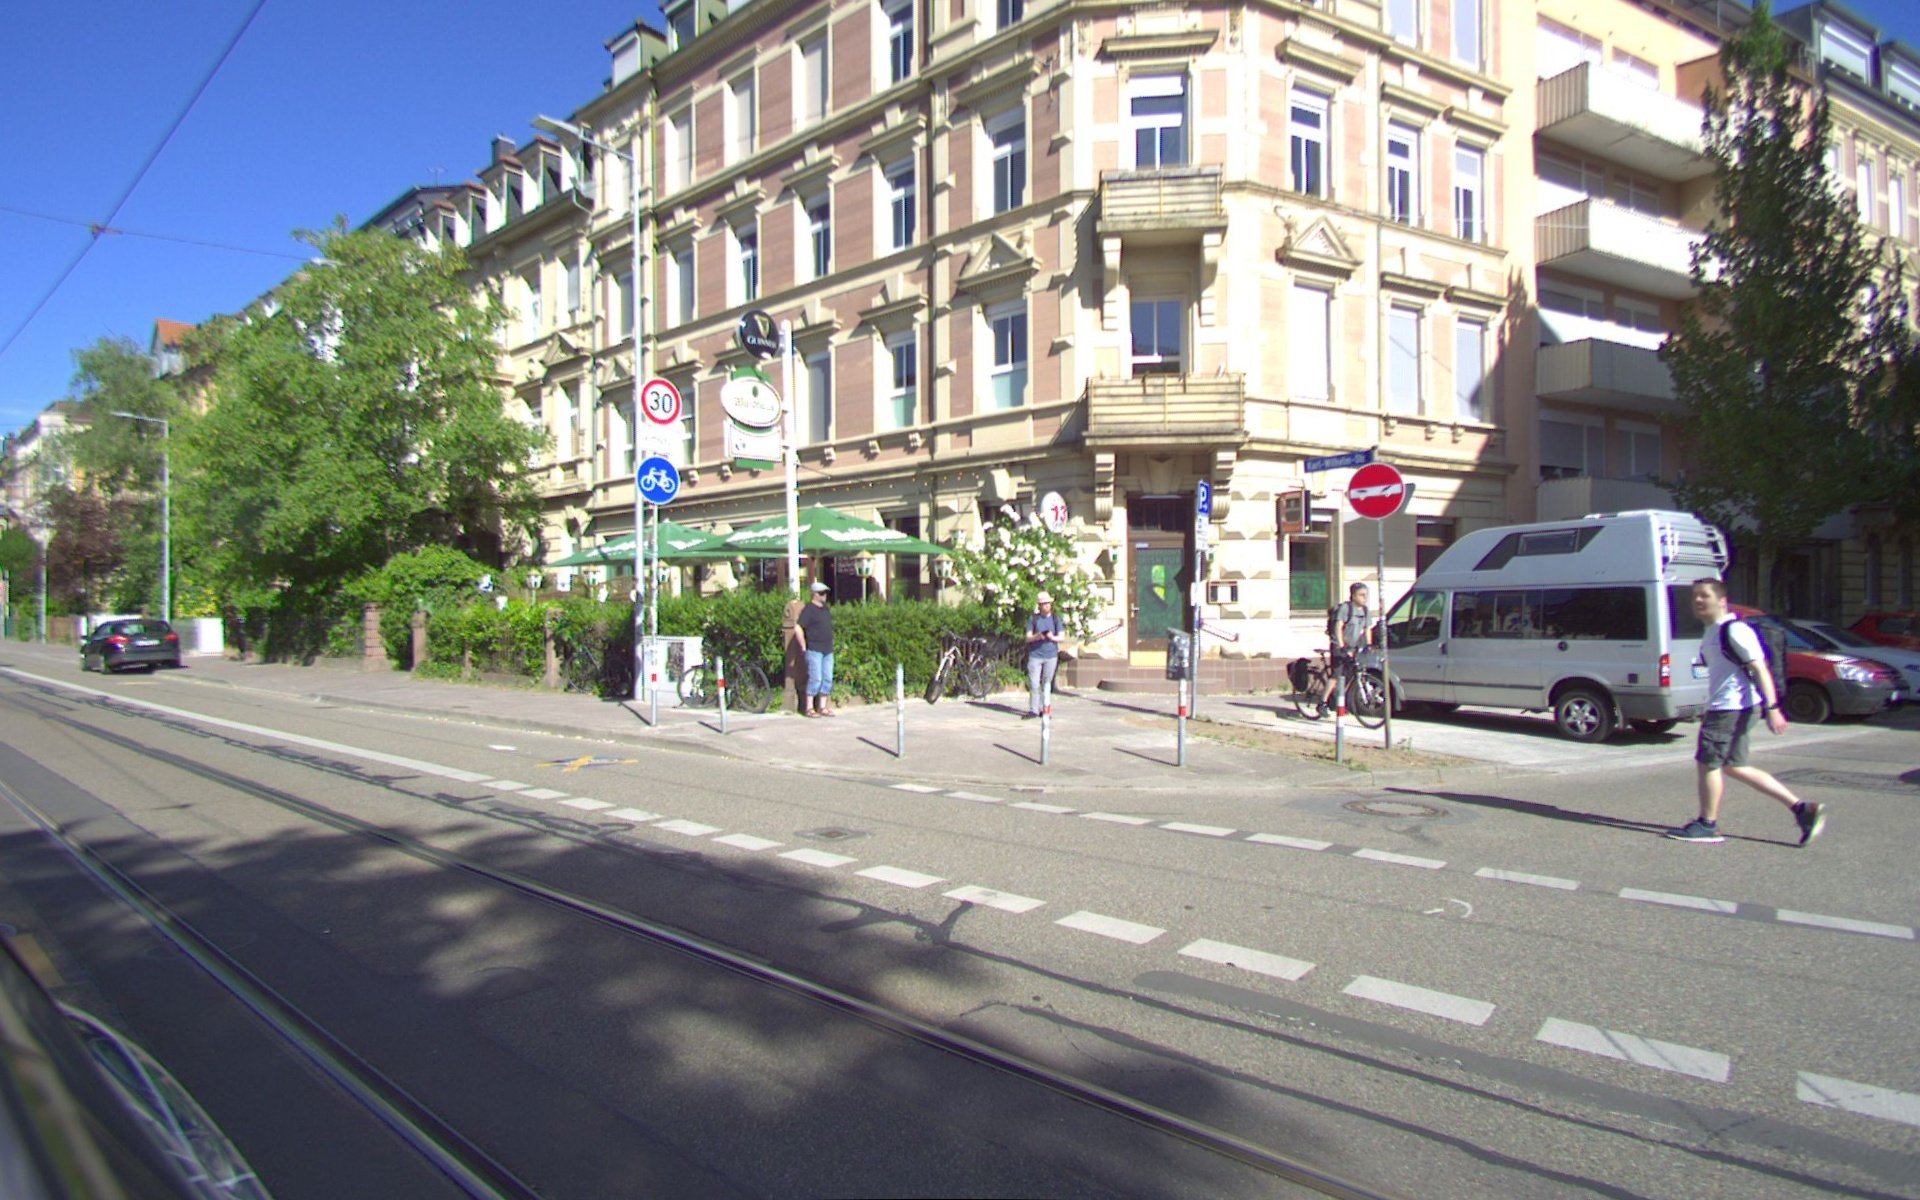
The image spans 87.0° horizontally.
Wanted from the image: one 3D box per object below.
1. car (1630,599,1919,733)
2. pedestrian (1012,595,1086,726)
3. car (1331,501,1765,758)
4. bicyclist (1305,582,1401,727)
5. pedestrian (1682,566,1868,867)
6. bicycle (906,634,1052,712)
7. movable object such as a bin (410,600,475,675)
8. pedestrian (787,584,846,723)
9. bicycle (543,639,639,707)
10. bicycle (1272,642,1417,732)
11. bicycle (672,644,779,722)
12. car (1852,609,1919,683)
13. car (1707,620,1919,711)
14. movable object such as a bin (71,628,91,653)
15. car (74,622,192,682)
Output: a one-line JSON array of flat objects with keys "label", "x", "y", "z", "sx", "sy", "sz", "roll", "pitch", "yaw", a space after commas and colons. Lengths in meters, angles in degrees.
[{"label": "car", "x": 12.289, "y": 0.879, "z": 15.261, "sx": 1.428, "sy": 1.765, "sz": 3.354, "roll": 1, "pitch": 0, "yaw": -30}, {"label": "pedestrian", "x": 1.157, "y": 0.767, "z": 13.310, "sx": 0.695, "sy": 1.667, "sz": 0.835, "roll": 0, "pitch": 0, "yaw": -18}, {"label": "car", "x": 7.695, "y": 0.325, "z": 13.805, "sx": 1.860, "sy": 2.862, "sz": 4.797, "roll": 1, "pitch": 0, "yaw": -32}, {"label": "bicyclist", "x": 5.288, "y": 0.697, "z": 13.642, "sx": 0.694, "sy": 1.868, "sz": 0.989, "roll": 0, "pitch": 0, "yaw": -29}, {"label": "pedestrian", "x": 5.249, "y": 0.697, "z": 6.539, "sx": 0.866, "sy": 1.781, "sz": 0.684, "roll": -1, "pitch": -1, "yaw": 41}, {"label": "bicycle", "x": 0.315, "y": 1.081, "z": 15.537, "sx": 2.211, "sy": 1.052, "sz": 0.877, "roll": 0, "pitch": 0, "yaw": -40}, {"label": "movable object such as a bin", "x": -12.862, "y": 0.909, "z": 25.156, "sx": 1.268, "sy": 1.744, "sz": 1.045, "roll": -3, "pitch": 1, "yaw": -33}, {"label": "pedestrian", "x": -1.905, "y": 0.699, "z": 13.448, "sx": 0.538, "sy": 1.795, "sz": 0.551, "roll": -1, "pitch": -1, "yaw": 38}, {"label": "bicycle", "x": -6.180, "y": 1.189, "z": 16.891, "sx": 2.222, "sy": 1.046, "sz": 0.508, "roll": -1, "pitch": -1, "yaw": 41}, {"label": "bicycle", "x": 5.197, "y": 1.142, "z": 13.798, "sx": 0.694, "sy": 1.063, "sz": 1.841, "roll": 0, "pitch": 0, "yaw": -29}, {"label": "bicycle", "x": -3.310, "y": 1.134, "z": 14.192, "sx": 1.777, "sy": 0.988, "sz": 0.522, "roll": -1, "pitch": -1, "yaw": 41}, {"label": "car", "x": 21.245, "y": 0.984, "z": 21.182, "sx": 1.368, "sy": 1.566, "sz": 3.626, "roll": 1, "pitch": 0, "yaw": -28}, {"label": "car", "x": 15.560, "y": 1.091, "z": 17.789, "sx": 1.548, "sy": 1.412, "sz": 3.605, "roll": 1, "pitch": 0, "yaw": -28}, {"label": "movable object such as a bin", "x": -42.882, "y": 1.974, "z": 49.375, "sx": 0.664, "sy": 1.184, "sz": 0.583, "roll": -1, "pitch": -1, "yaw": 36}, {"label": "car", "x": -23.881, "y": 1.453, "z": 29.160, "sx": 4.586, "sy": 1.588, "sz": 1.845, "roll": -1, "pitch": -3, "yaw": 41}]
